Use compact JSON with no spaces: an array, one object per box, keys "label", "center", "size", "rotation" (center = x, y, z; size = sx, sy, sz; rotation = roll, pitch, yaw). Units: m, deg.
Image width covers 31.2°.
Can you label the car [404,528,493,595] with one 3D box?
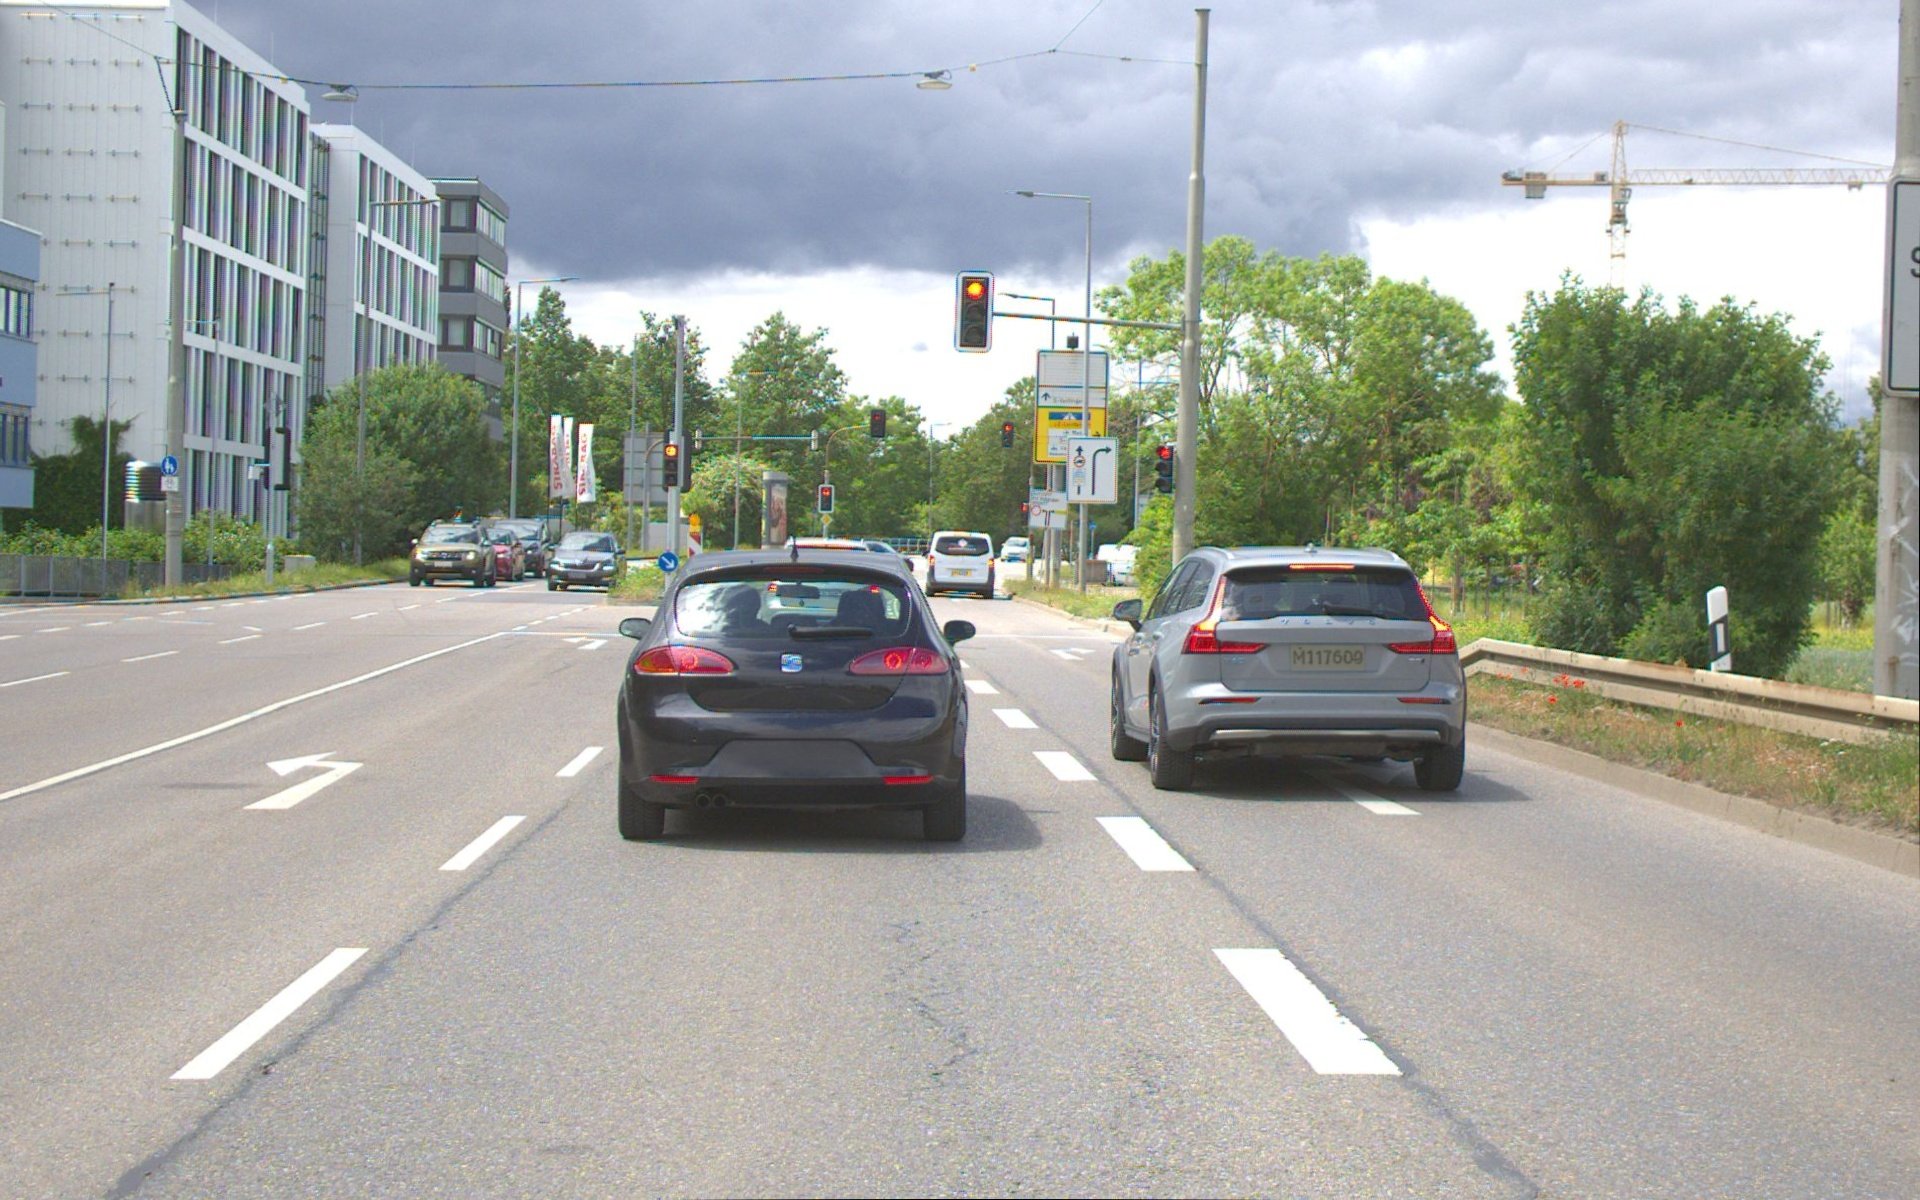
[{"label":"car","center":[-12.727,-0.966,85.691],"size":[1.751,1.625,4.001],"rotation":[-1,1,-2]}]

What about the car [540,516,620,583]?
[{"label":"car","center":[-9.293,-1.250,84.349],"size":[1.668,1.519,4.009],"rotation":[-1,2,-2]}]

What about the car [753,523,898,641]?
[{"label":"car","center":[-2.004,-0.304,50.499],"size":[1.983,1.584,4.227],"rotation":[2,1,-3]}]

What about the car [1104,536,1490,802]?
[{"label":"car","center":[2.032,0.377,21.943],"size":[1.958,1.520,4.340],"rotation":[0,0,-1]}]

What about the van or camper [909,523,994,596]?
[{"label":"van or camper","center":[-0.256,-1.127,97.002],"size":[1.899,1.919,4.000],"rotation":[0,-1,-8]}]

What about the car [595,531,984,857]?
[{"label":"car","center":[-0.791,0.427,18.193],"size":[1.748,1.479,4.000],"rotation":[2,0,1]}]
